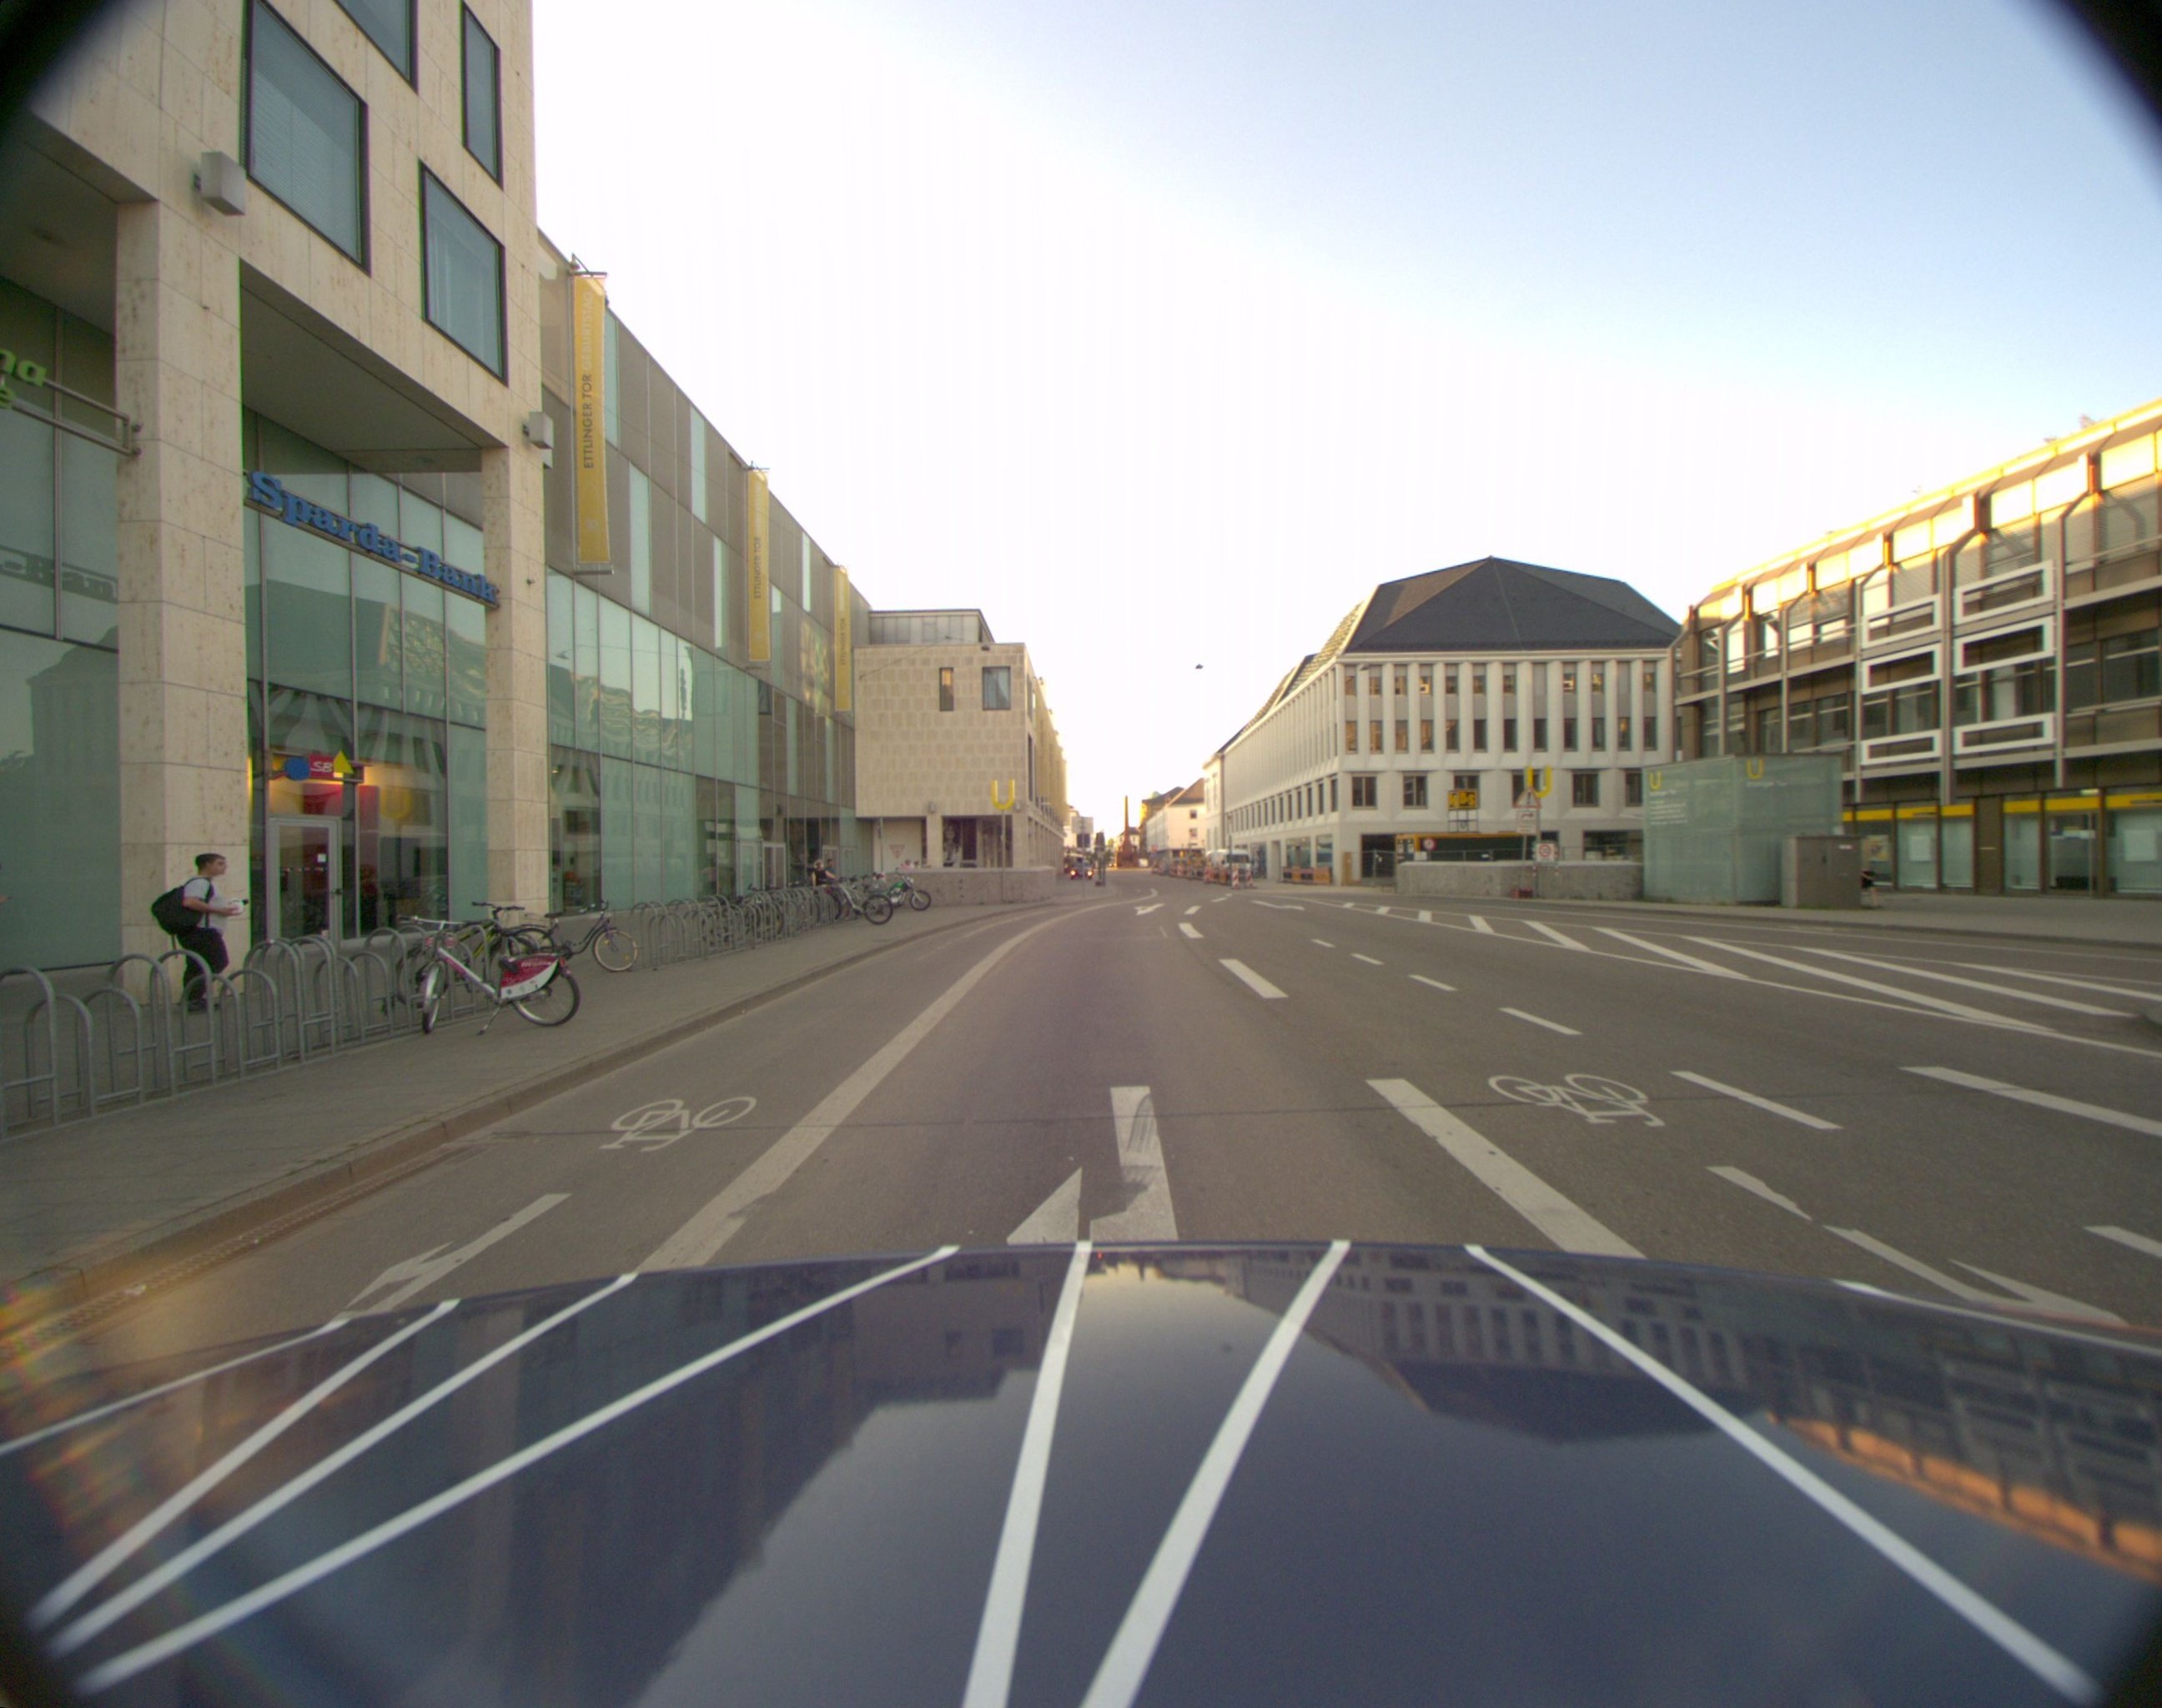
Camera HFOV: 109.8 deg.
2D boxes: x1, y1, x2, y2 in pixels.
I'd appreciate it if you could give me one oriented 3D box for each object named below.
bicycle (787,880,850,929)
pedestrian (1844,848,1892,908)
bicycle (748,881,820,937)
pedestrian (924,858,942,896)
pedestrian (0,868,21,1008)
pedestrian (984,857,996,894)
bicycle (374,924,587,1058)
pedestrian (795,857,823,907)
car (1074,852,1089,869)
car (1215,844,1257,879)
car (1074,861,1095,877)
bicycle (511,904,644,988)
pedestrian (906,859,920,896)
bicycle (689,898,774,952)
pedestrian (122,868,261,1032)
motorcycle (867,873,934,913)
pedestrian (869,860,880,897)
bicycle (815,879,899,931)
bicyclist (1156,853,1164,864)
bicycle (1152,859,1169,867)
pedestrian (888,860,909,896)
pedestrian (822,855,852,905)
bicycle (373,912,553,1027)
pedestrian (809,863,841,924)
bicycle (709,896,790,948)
[{"bbox_3d":[-6.603,1.264,19.163,1.345,1.157,0.518,-3,0,-1],"label":"bicycle"},{"bbox_3d":[22.084,0.666,21.321,0.616,1.629,0.703,-1,0,1],"label":"pedestrian"},{"bbox_3d":[-6.659,1.236,17.077,1.345,1.157,0.518,-3,0,-1],"label":"bicycle"},{"bbox_3d":[-6.969,1.085,35.756,0.619,1.770,0.812,-1,0,3],"label":"pedestrian"},{"bbox_3d":[-12.971,0.987,8.711,0.629,1.642,0.708,-1,0,2],"label":"pedestrian"},{"bbox_3d":[-4.364,1.031,36.469,0.454,1.733,0.493,-1,0,3],"label":"pedestrian"},{"bbox_3d":[-5.399,1.218,6.866,1.518,1.057,0.466,-3,0,1],"label":"bicycle"},{"bbox_3d":[-9.136,0.925,25.529,0.821,1.638,0.739,-1,0,-24],"label":"pedestrian"},{"bbox_3d":[0.088,0.837,100.424,1.798,2.198,3.671,-1,0,2],"label":"car"},{"bbox_3d":[11.988,0.588,59.162,2.141,2.540,6.050,-1,0,1],"label":"car"},{"bbox_3d":[0.339,1.294,67.863,1.798,1.365,3.671,-1,0,2],"label":"car"},{"bbox_3d":[-7.303,1.314,11.072,1.447,1.058,0.580,-3,0,-10],"label":"bicycle"},{"bbox_3d":[-8.024,1.114,36.274,0.494,1.733,0.657,-1,0,3],"label":"pedestrian"},{"bbox_3d":[-6.654,1.343,14.503,1.345,0.927,0.518,-3,0,-1],"label":"bicycle"},{"bbox_3d":[-9.533,0.994,8.170,0.629,1.682,0.708,-1,0,1],"label":"pedestrian"},{"bbox_3d":[-5.710,1.240,24.084,2.007,1.217,0.480,-1,0,-2],"label":"motorcycle"},{"bbox_3d":[-9.742,1.171,35.893,0.364,1.733,0.452,-1,0,3],"label":"pedestrian"},{"bbox_3d":[-5.389,1.218,18.319,1.838,1.140,0.466,-3,0,1],"label":"bicycle"},{"bbox_3d":[11.267,0.692,108.466,0.976,1.544,0.974,-1,0,1],"label":"bicyclist"},{"bbox_3d":[11.281,1.312,108.455,2.372,1.052,0.729,-1,0,2],"label":"bicycle"},{"bbox_3d":[-8.751,1.136,36.445,0.793,1.733,0.657,-1,0,3],"label":"pedestrian"},{"bbox_3d":[-8.353,0.885,26.038,0.822,1.686,0.697,-1,0,-31],"label":"pedestrian"},{"bbox_3d":[-6.798,1.258,8.392,1.518,1.117,0.581,-3,0,4],"label":"bicycle"},{"bbox_3d":[-6.980,1.062,20.745,0.809,1.633,0.646,-1,0,-18],"label":"pedestrian"},{"bbox_3d":[-6.596,1.352,15.149,1.345,0.927,0.518,-3,0,-1],"label":"bicycle"}]
